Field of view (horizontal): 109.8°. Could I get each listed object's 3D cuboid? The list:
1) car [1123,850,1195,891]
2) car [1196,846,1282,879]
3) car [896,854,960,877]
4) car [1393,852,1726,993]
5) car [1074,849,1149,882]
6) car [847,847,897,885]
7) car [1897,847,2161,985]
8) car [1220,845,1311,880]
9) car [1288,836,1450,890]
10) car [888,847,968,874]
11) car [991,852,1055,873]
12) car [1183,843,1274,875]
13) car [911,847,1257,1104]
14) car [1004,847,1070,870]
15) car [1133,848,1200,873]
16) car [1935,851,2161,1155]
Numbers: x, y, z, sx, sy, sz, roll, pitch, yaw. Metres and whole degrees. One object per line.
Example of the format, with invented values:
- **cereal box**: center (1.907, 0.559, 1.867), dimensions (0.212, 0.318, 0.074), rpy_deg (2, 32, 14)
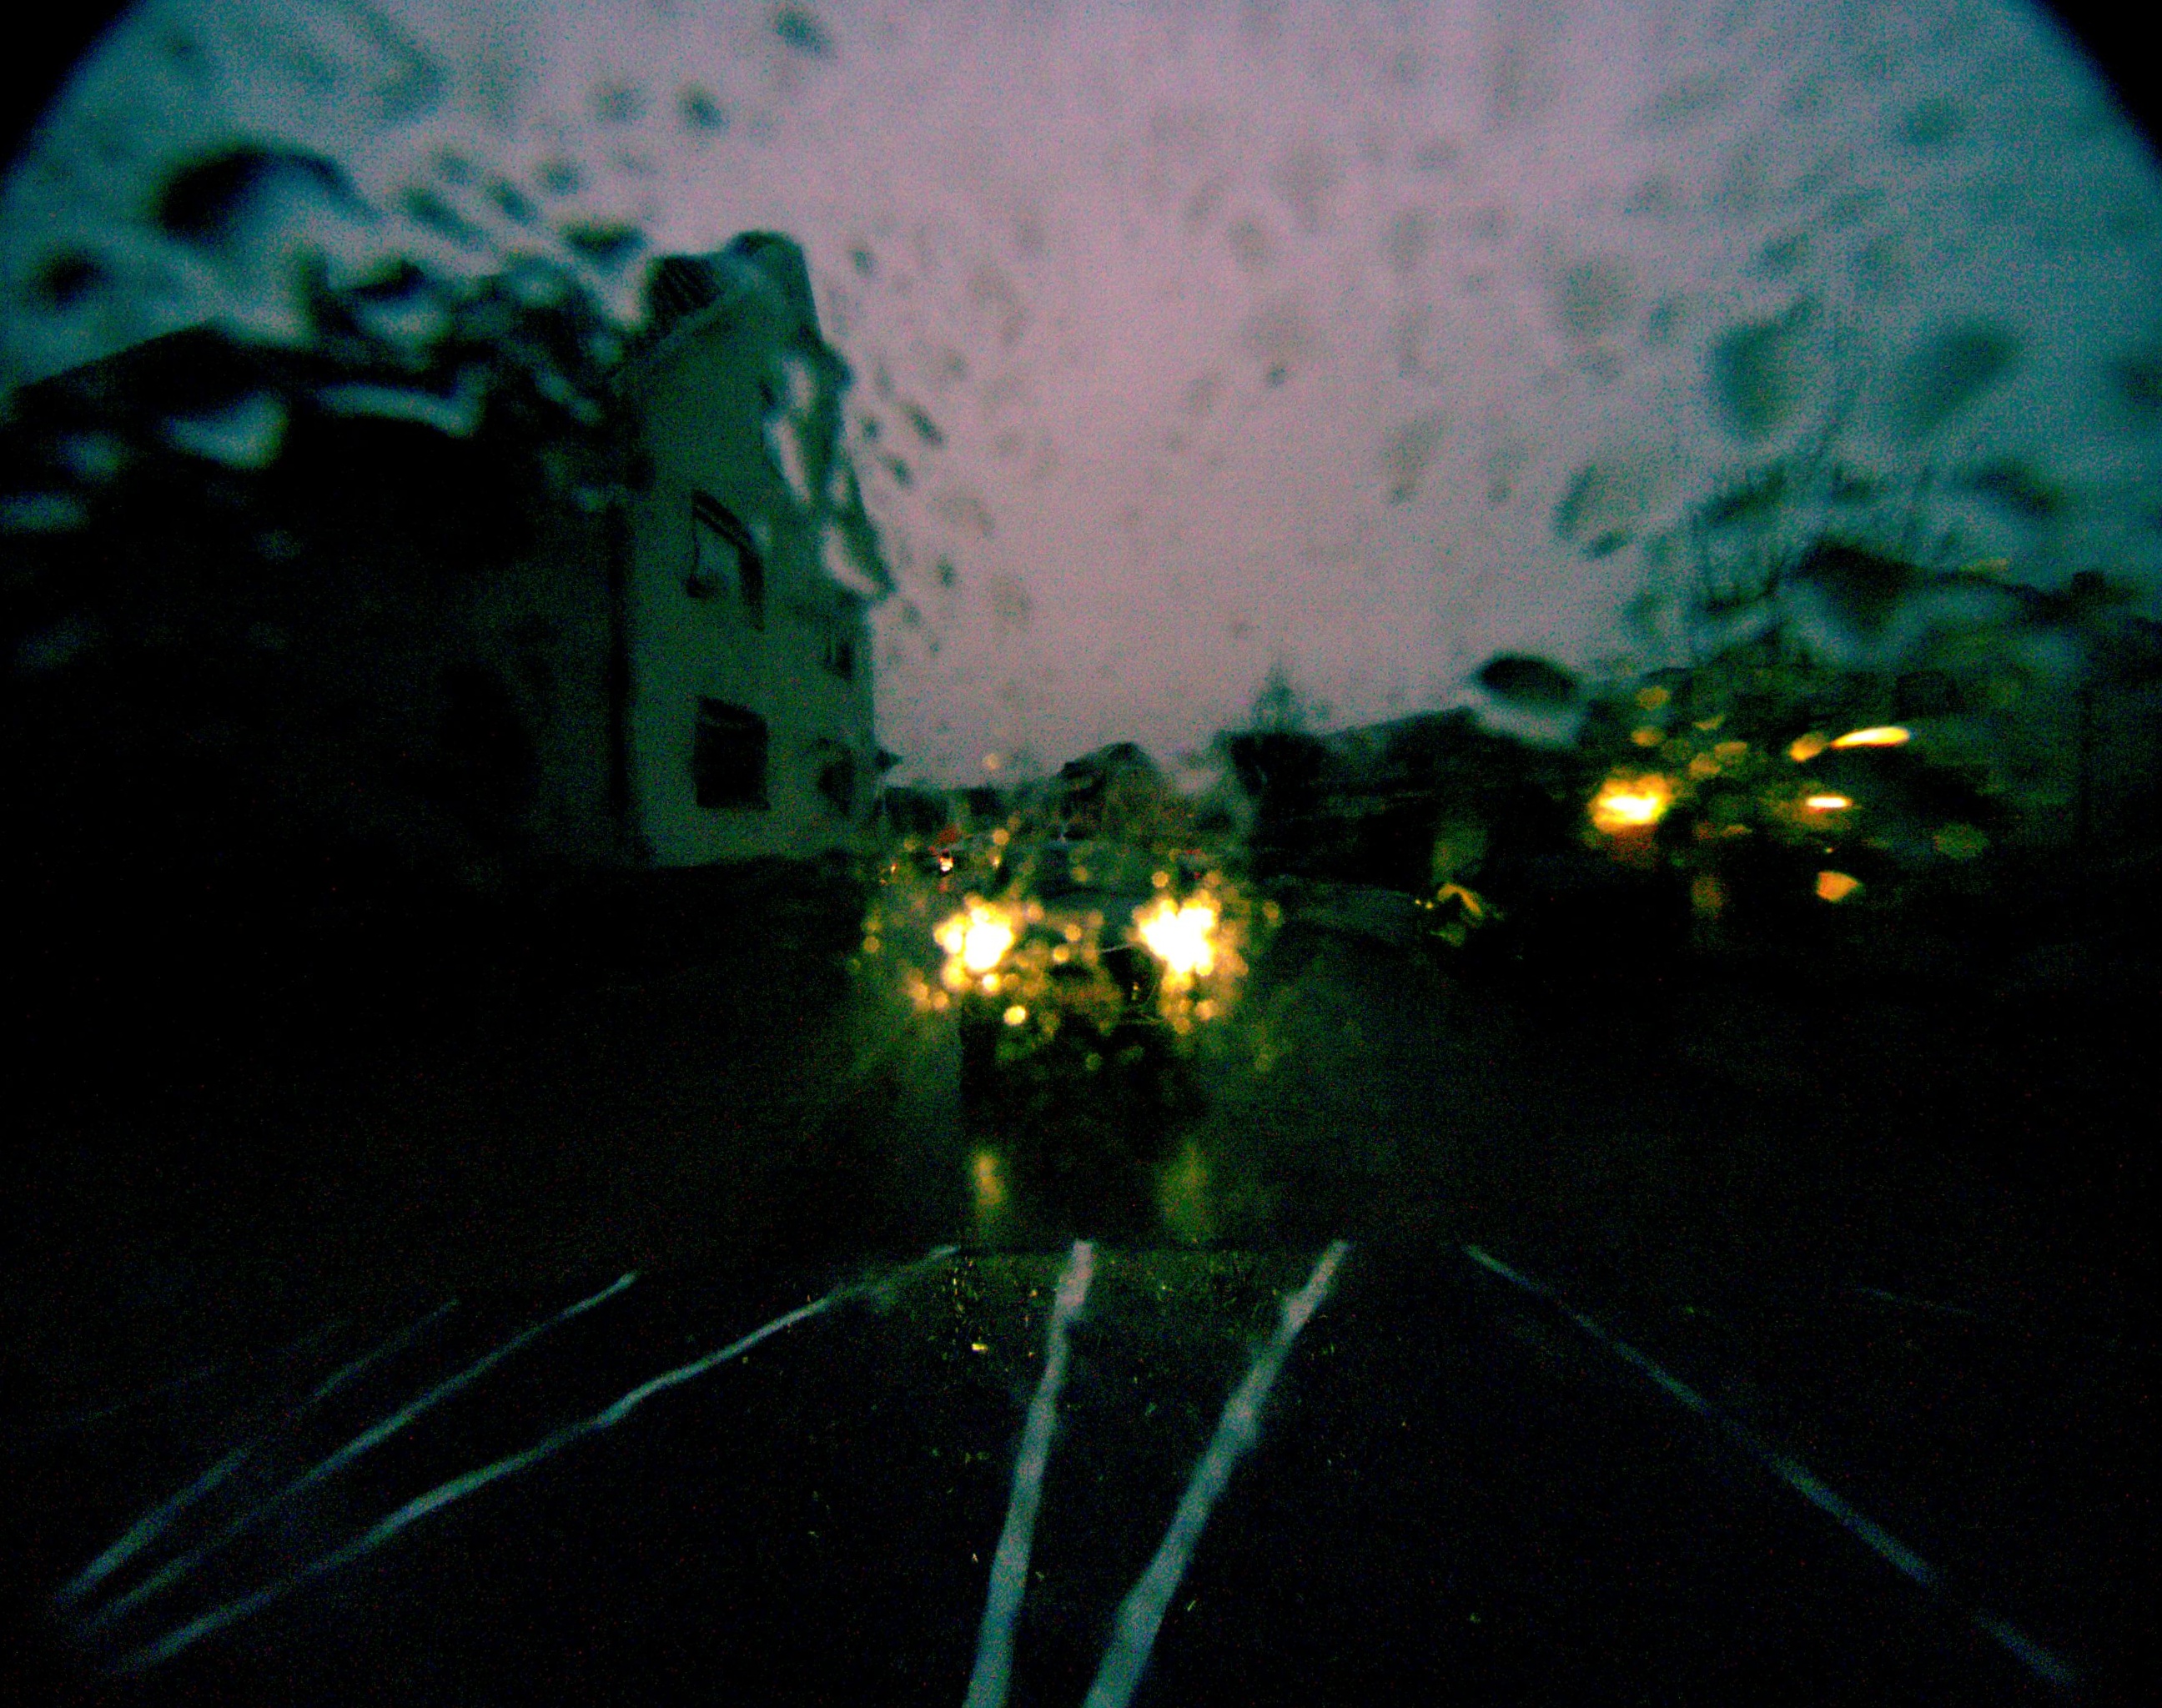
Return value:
- **car**: center (3.158, 0.609, 31.363), dimensions (1.840, 1.527, 3.671), rpy_deg (-2, 1, -13)
- **car**: center (7.852, 0.389, 38.025), dimensions (4.107, 1.573, 1.722), rpy_deg (0, 1, 9)
- **car**: center (-10.951, 0.834, 54.483), dimensions (4.109, 1.496, 1.890), rpy_deg (-1, 1, 4)
- **car**: center (6.206, 0.746, 10.619), dimensions (1.751, 1.464, 4.457), rpy_deg (-2, 1, -1)
- **car**: center (1.435, 0.541, 37.665), dimensions (1.913, 1.525, 4.247), rpy_deg (-2, 1, -26)
- **car**: center (-11.650, 0.649, 42.117), dimensions (1.982, 1.948, 4.842), rpy_deg (-1, 0, -23)
- **car**: center (12.479, 0.665, 8.577), dimensions (4.078, 1.468, 1.742), rpy_deg (0, 1, 23)
- **car**: center (8.514, 0.375, 35.186), dimensions (3.993, 1.521, 2.002), rpy_deg (-1, 1, 13)
- **car**: center (10.387, 0.296, 27.854), dimensions (5.387, 1.874, 2.076), rpy_deg (0, 0, 16)
- **car**: center (-12.113, 0.499, 60.338), dimensions (5.773, 1.934, 1.991), rpy_deg (-2, 0, 4)
- **car**: center (-4.696, 0.691, 61.382), dimensions (4.775, 1.626, 1.997), rpy_deg (1, -1, -21)
- **car**: center (7.864, 0.276, 40.827), dimensions (4.649, 1.644, 1.989), rpy_deg (0, 1, 9)
- **car**: center (-0.089, 0.776, 7.577), dimensions (2.270, 1.633, 5.063), rpy_deg (-1, 1, -3)
- **car**: center (-3.345, 0.281, 57.708), dimensions (4.456, 1.623, 2.150), rpy_deg (-1, 1, -29)
- **car**: center (5.316, 0.404, 47.536), dimensions (4.069, 1.451, 1.758), rpy_deg (-1, 1, 4)
- **car**: center (6.429, 0.777, 3.047), dimensions (1.697, 1.507, 3.771), rpy_deg (-2, 1, -2)
